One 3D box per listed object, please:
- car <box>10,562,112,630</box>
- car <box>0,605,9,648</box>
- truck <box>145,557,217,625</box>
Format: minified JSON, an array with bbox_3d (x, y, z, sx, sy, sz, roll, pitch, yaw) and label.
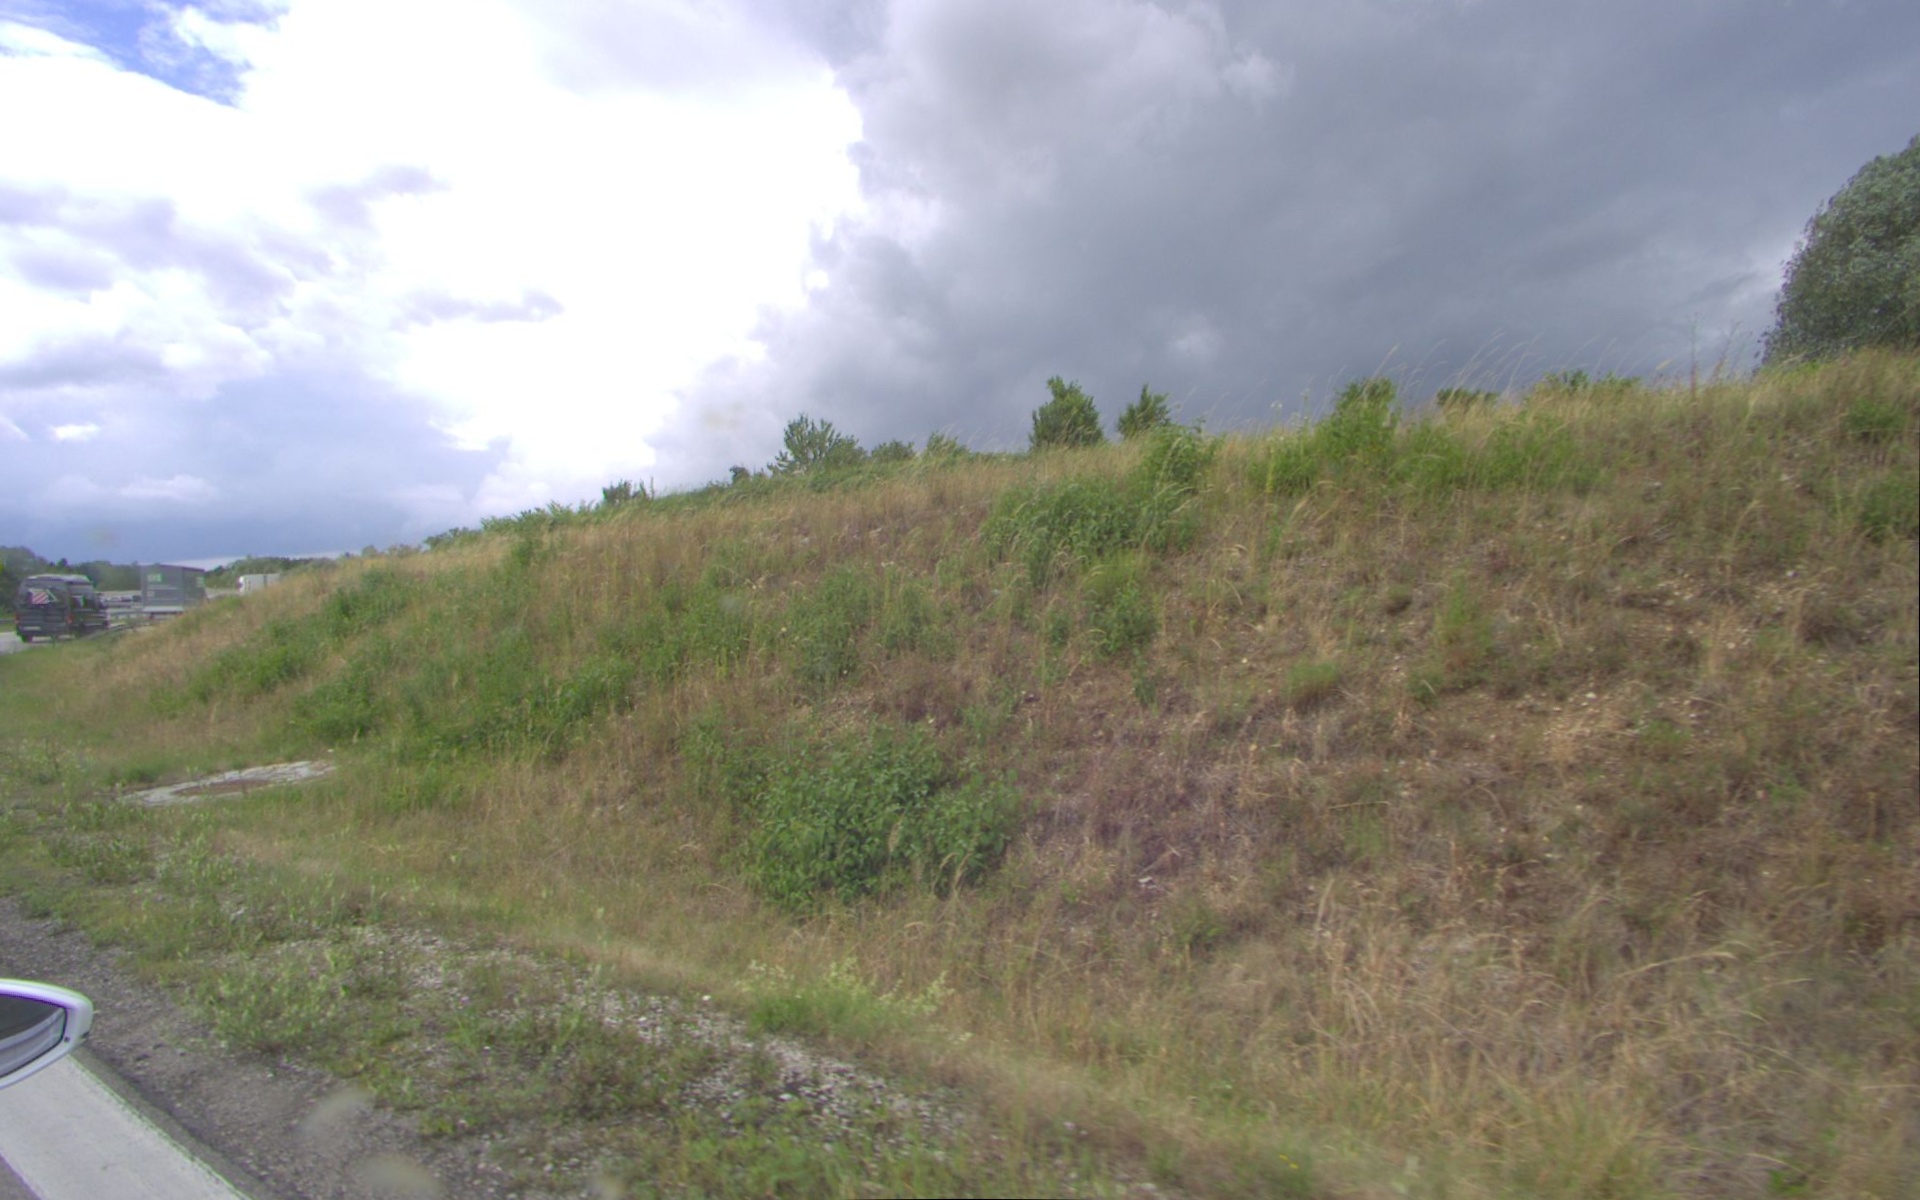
[{"bbox_3d":[-39.803,-0.088,44.466,2.077,2.832,3.990,1,-2,-22],"label":"car"},{"bbox_3d":[-34.855,0.914,34.704,1.845,1.529,3.981,0,-2,-30],"label":"car"},{"bbox_3d":[-49.459,-0.477,63.739,2.200,3.955,5.998,0,-3,-24],"label":"truck"}]
